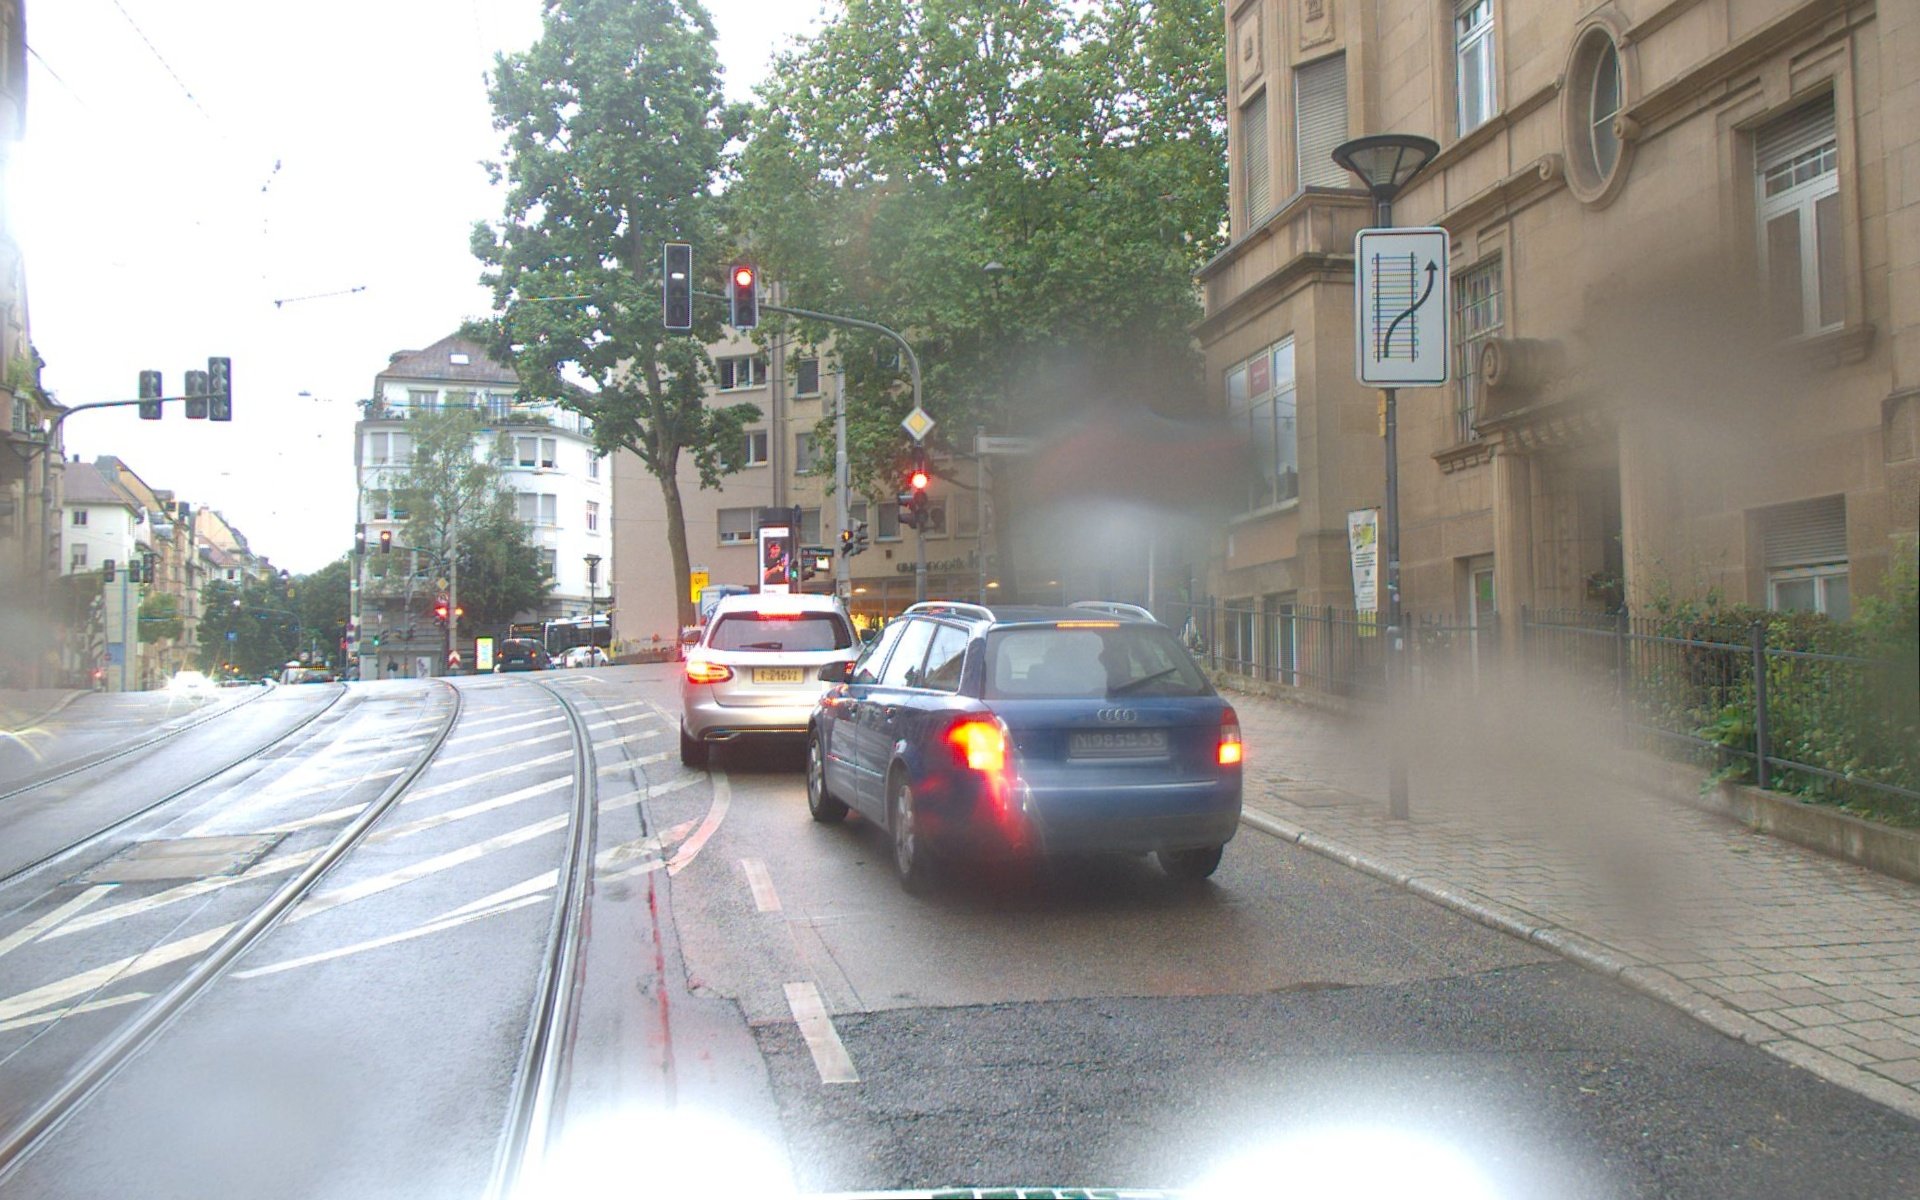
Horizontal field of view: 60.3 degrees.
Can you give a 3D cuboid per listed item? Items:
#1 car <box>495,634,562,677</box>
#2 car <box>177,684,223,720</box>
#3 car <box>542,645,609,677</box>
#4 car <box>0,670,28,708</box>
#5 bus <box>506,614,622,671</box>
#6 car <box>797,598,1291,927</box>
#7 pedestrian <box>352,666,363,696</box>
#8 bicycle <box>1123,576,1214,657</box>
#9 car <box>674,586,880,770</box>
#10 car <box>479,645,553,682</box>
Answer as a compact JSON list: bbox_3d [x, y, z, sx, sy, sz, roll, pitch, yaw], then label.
[{"bbox_3d":[-18.309,2.347,70.351,1.758,1.536,3.999,-4,0,-1],"label":"car"},{"bbox_3d":[-39.102,5.227,85.064,1.775,1.536,4.619,-2,0,-29],"label":"car"},{"bbox_3d":[-21.074,3.333,90.750,1.756,1.536,4.002,-1,0,18],"label":"car"},{"bbox_3d":[-43.542,3.989,73.165,3.941,1.536,1.784,-1,0,-28],"label":"car"},{"bbox_3d":[-23.074,2.406,96.871,2.793,2.911,8.741,-1,1,14],"label":"bus"},{"bbox_3d":[0.236,0.730,9.615,1.682,1.440,4.019,0,1,-16],"label":"car"},{"bbox_3d":[-34.931,4.690,95.903,0.638,1.690,0.646,0,0,-20],"label":"pedestrian"},{"bbox_3d":[3.297,0.259,26.122,1.277,1.193,0.524,-3,1,-12],"label":"bicycle"},{"bbox_3d":[-1.706,0.619,15.315,1.678,1.481,3.547,0,1,-7],"label":"car"},{"bbox_3d":[-22.865,3.265,85.267,1.756,1.642,4.002,-1,0,18],"label":"car"}]
